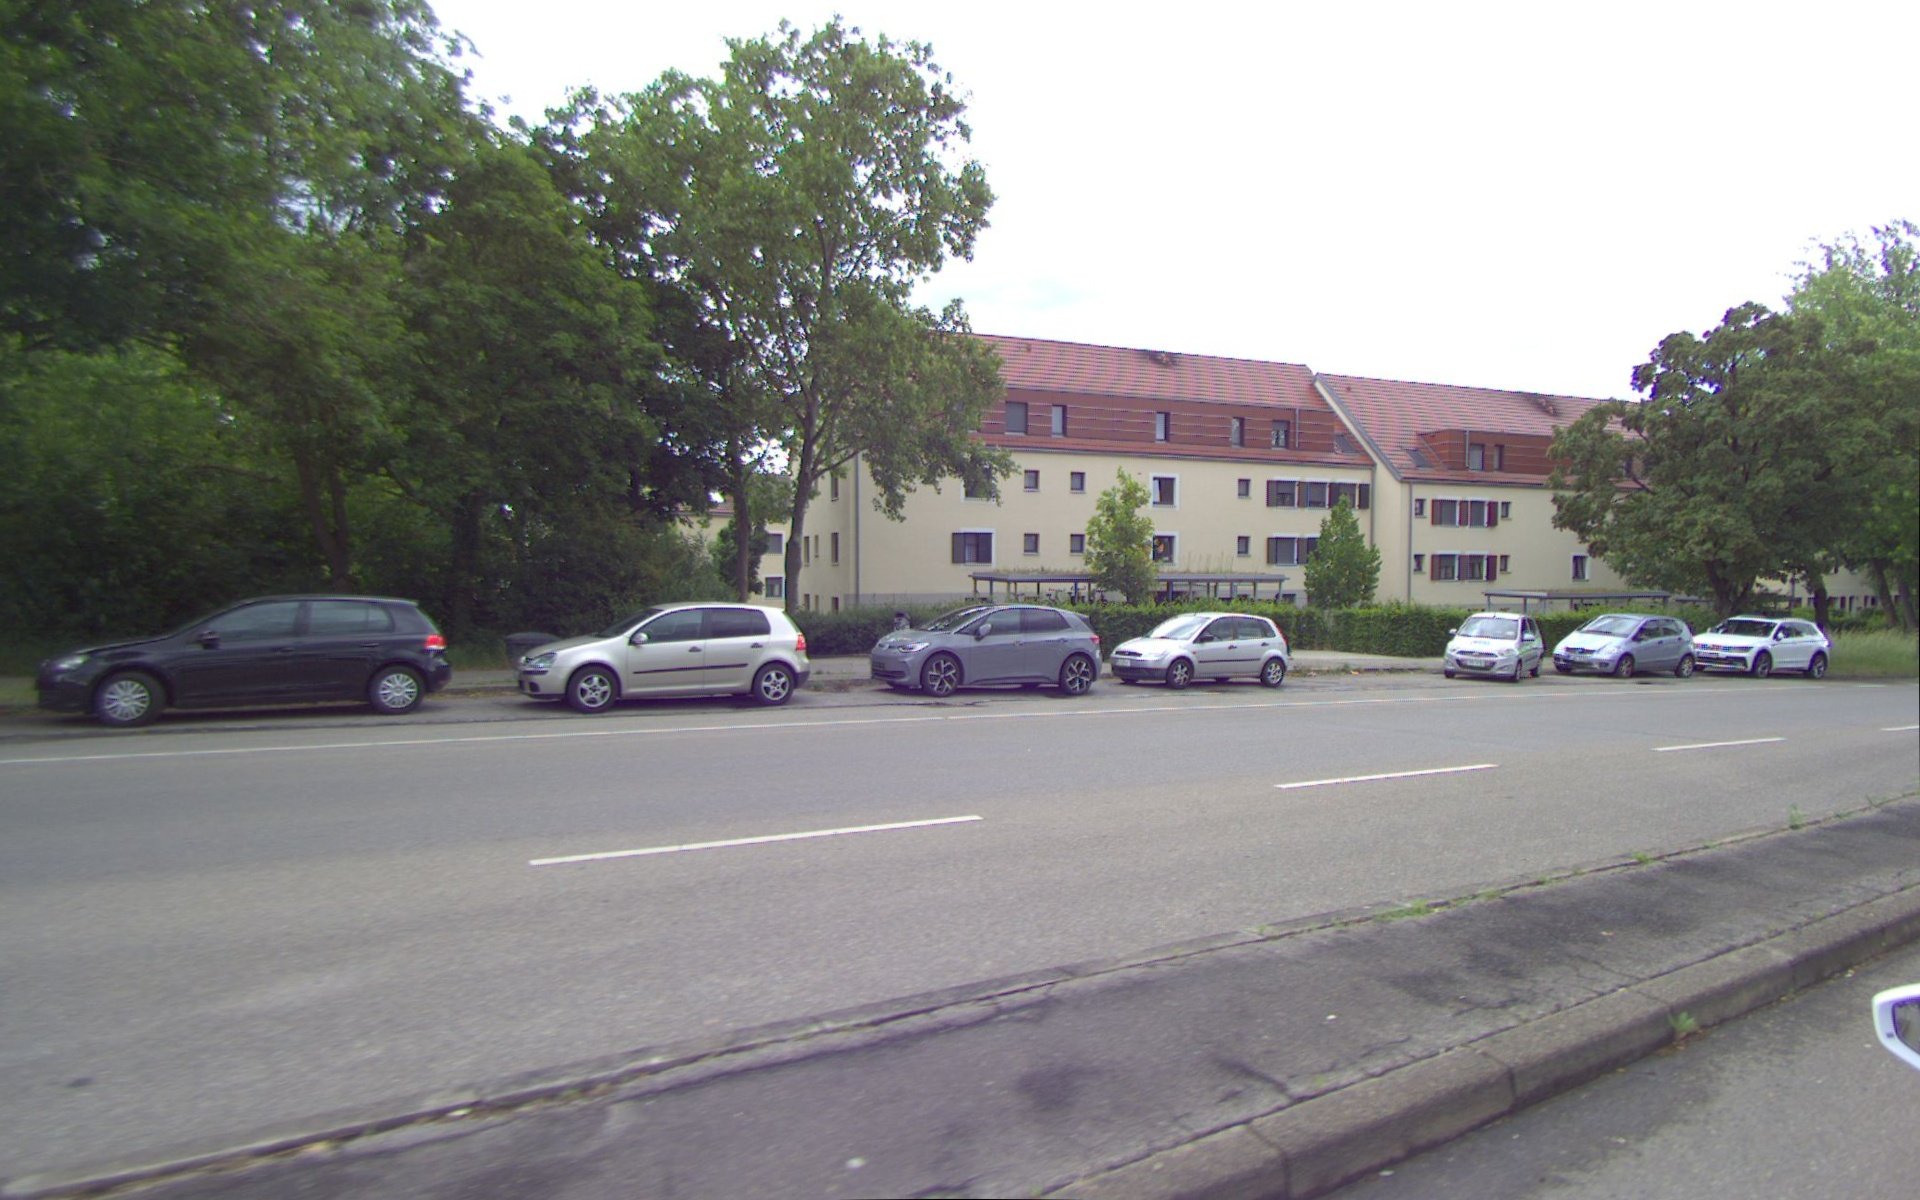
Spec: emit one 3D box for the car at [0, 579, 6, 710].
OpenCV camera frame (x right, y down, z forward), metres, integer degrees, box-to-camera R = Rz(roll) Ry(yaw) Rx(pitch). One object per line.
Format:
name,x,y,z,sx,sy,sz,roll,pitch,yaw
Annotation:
car,-12.284,0.510,9.974,3.853,1.527,1.861,1,1,-38

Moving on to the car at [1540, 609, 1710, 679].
car,17.545,1.162,26.523,3.944,1.618,1.870,3,0,-24

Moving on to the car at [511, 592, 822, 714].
car,-4.252,0.713,14.699,4.011,1.527,1.865,2,1,-32

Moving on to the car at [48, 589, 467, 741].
car,-8.467,0.709,12.374,3.967,1.527,1.859,2,1,-40

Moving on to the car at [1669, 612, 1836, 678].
car,22.404,1.252,28.396,4.329,1.689,1.870,1,1,-24

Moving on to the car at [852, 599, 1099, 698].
car,0.291,0.814,17.711,3.952,1.527,1.866,2,1,-30

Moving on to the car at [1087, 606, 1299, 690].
car,4.740,0.923,20.362,3.952,1.527,1.867,1,0,-29

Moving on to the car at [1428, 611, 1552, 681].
car,13.060,1.079,24.632,1.853,1.527,3.980,1,0,40
